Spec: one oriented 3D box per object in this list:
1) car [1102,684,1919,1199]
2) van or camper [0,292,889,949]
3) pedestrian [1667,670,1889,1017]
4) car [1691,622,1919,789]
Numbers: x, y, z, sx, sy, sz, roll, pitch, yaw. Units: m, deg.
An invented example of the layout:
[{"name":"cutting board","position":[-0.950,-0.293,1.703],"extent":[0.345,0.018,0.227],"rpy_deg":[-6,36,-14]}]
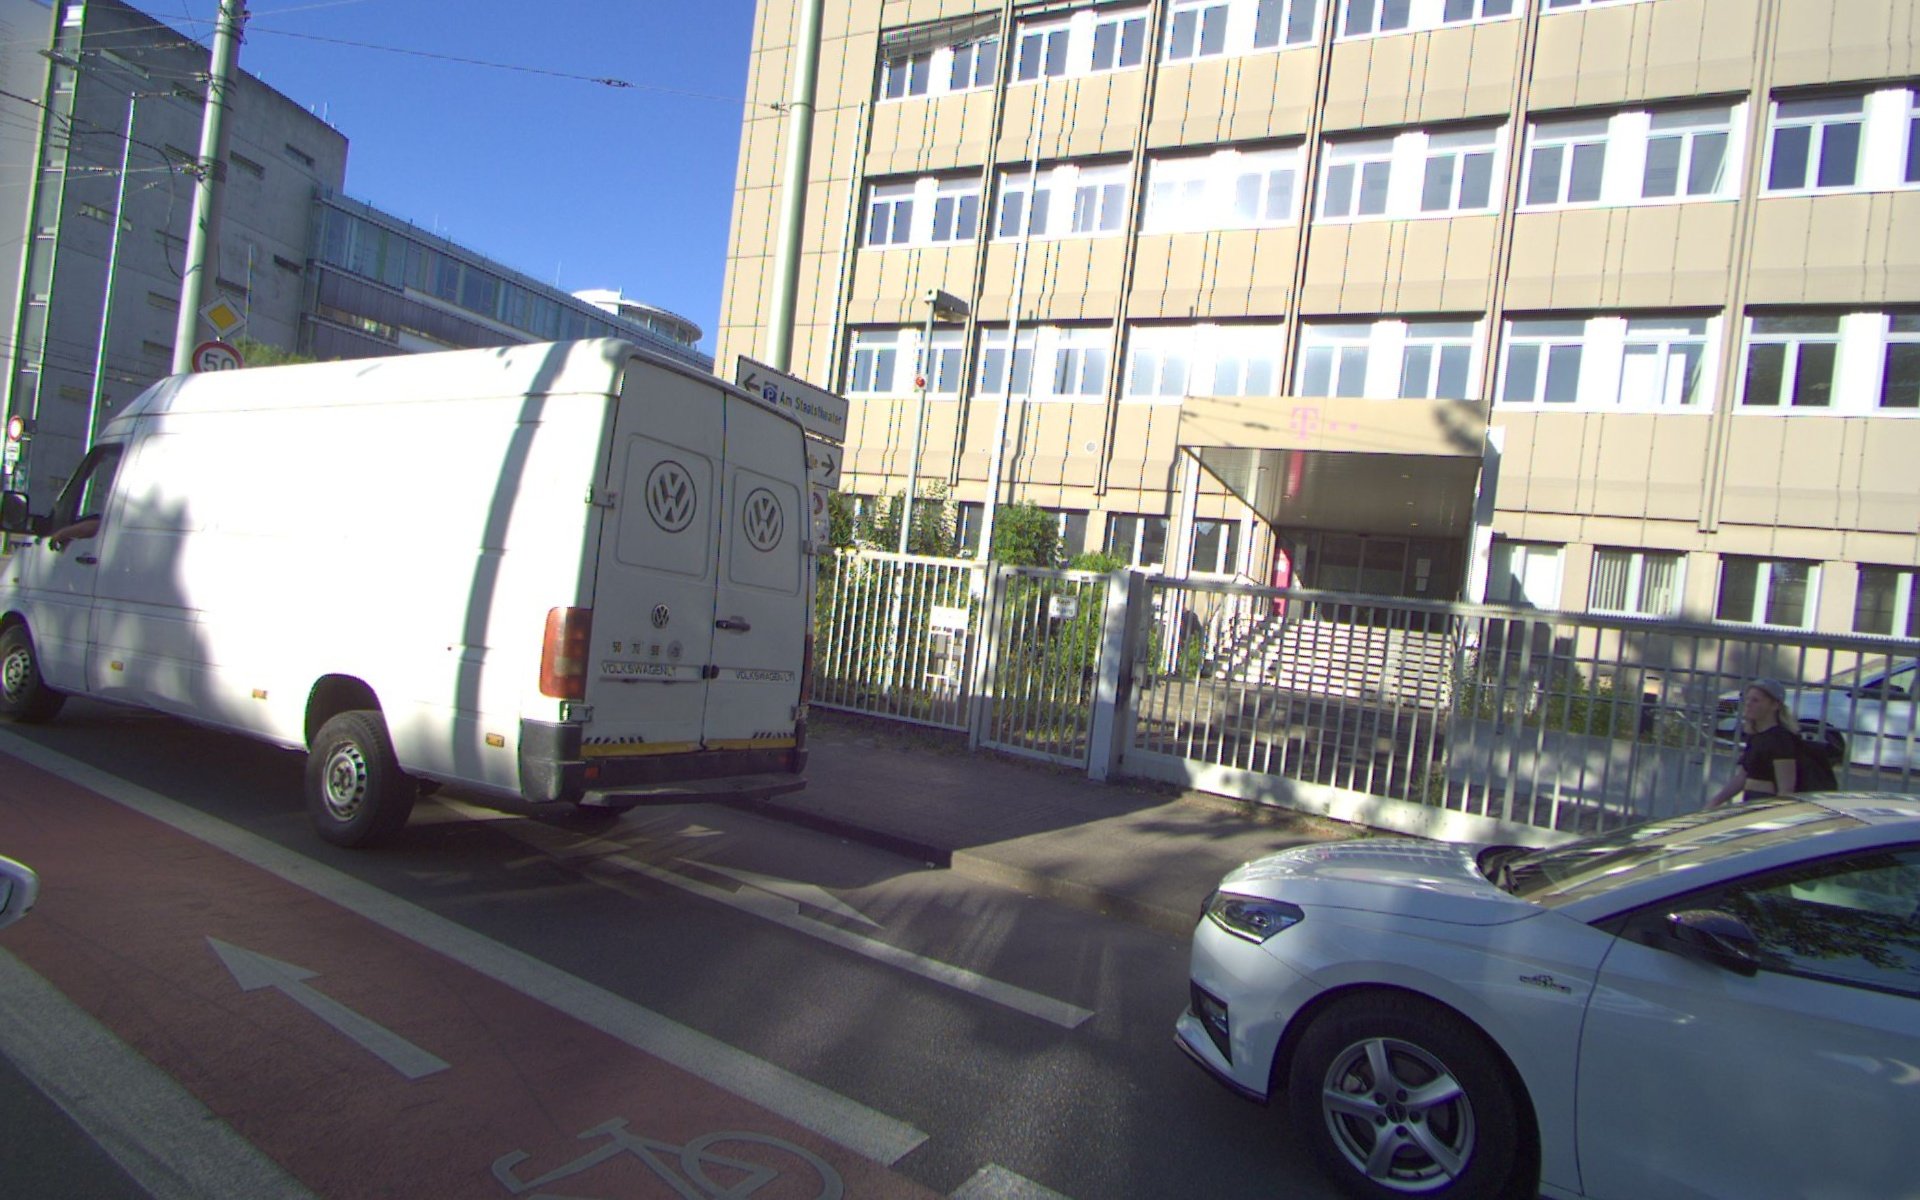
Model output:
[{"name":"car","position":[2.682,1.253,3.011],"extent":[4.006,1.405,1.705],"rpy_deg":[7,-1,30]},{"name":"van or camper","position":[-3.742,-0.149,6.538],"extent":[6.196,2.748,1.973],"rpy_deg":[7,-1,29]},{"name":"pedestrian","position":[4.727,1.351,5.875],"extent":[0.757,1.784,0.591],"rpy_deg":[7,1,32]},{"name":"car","position":[12.811,1.528,13.243],"extent":[4.701,1.865,1.998],"rpy_deg":[7,0,27]}]
